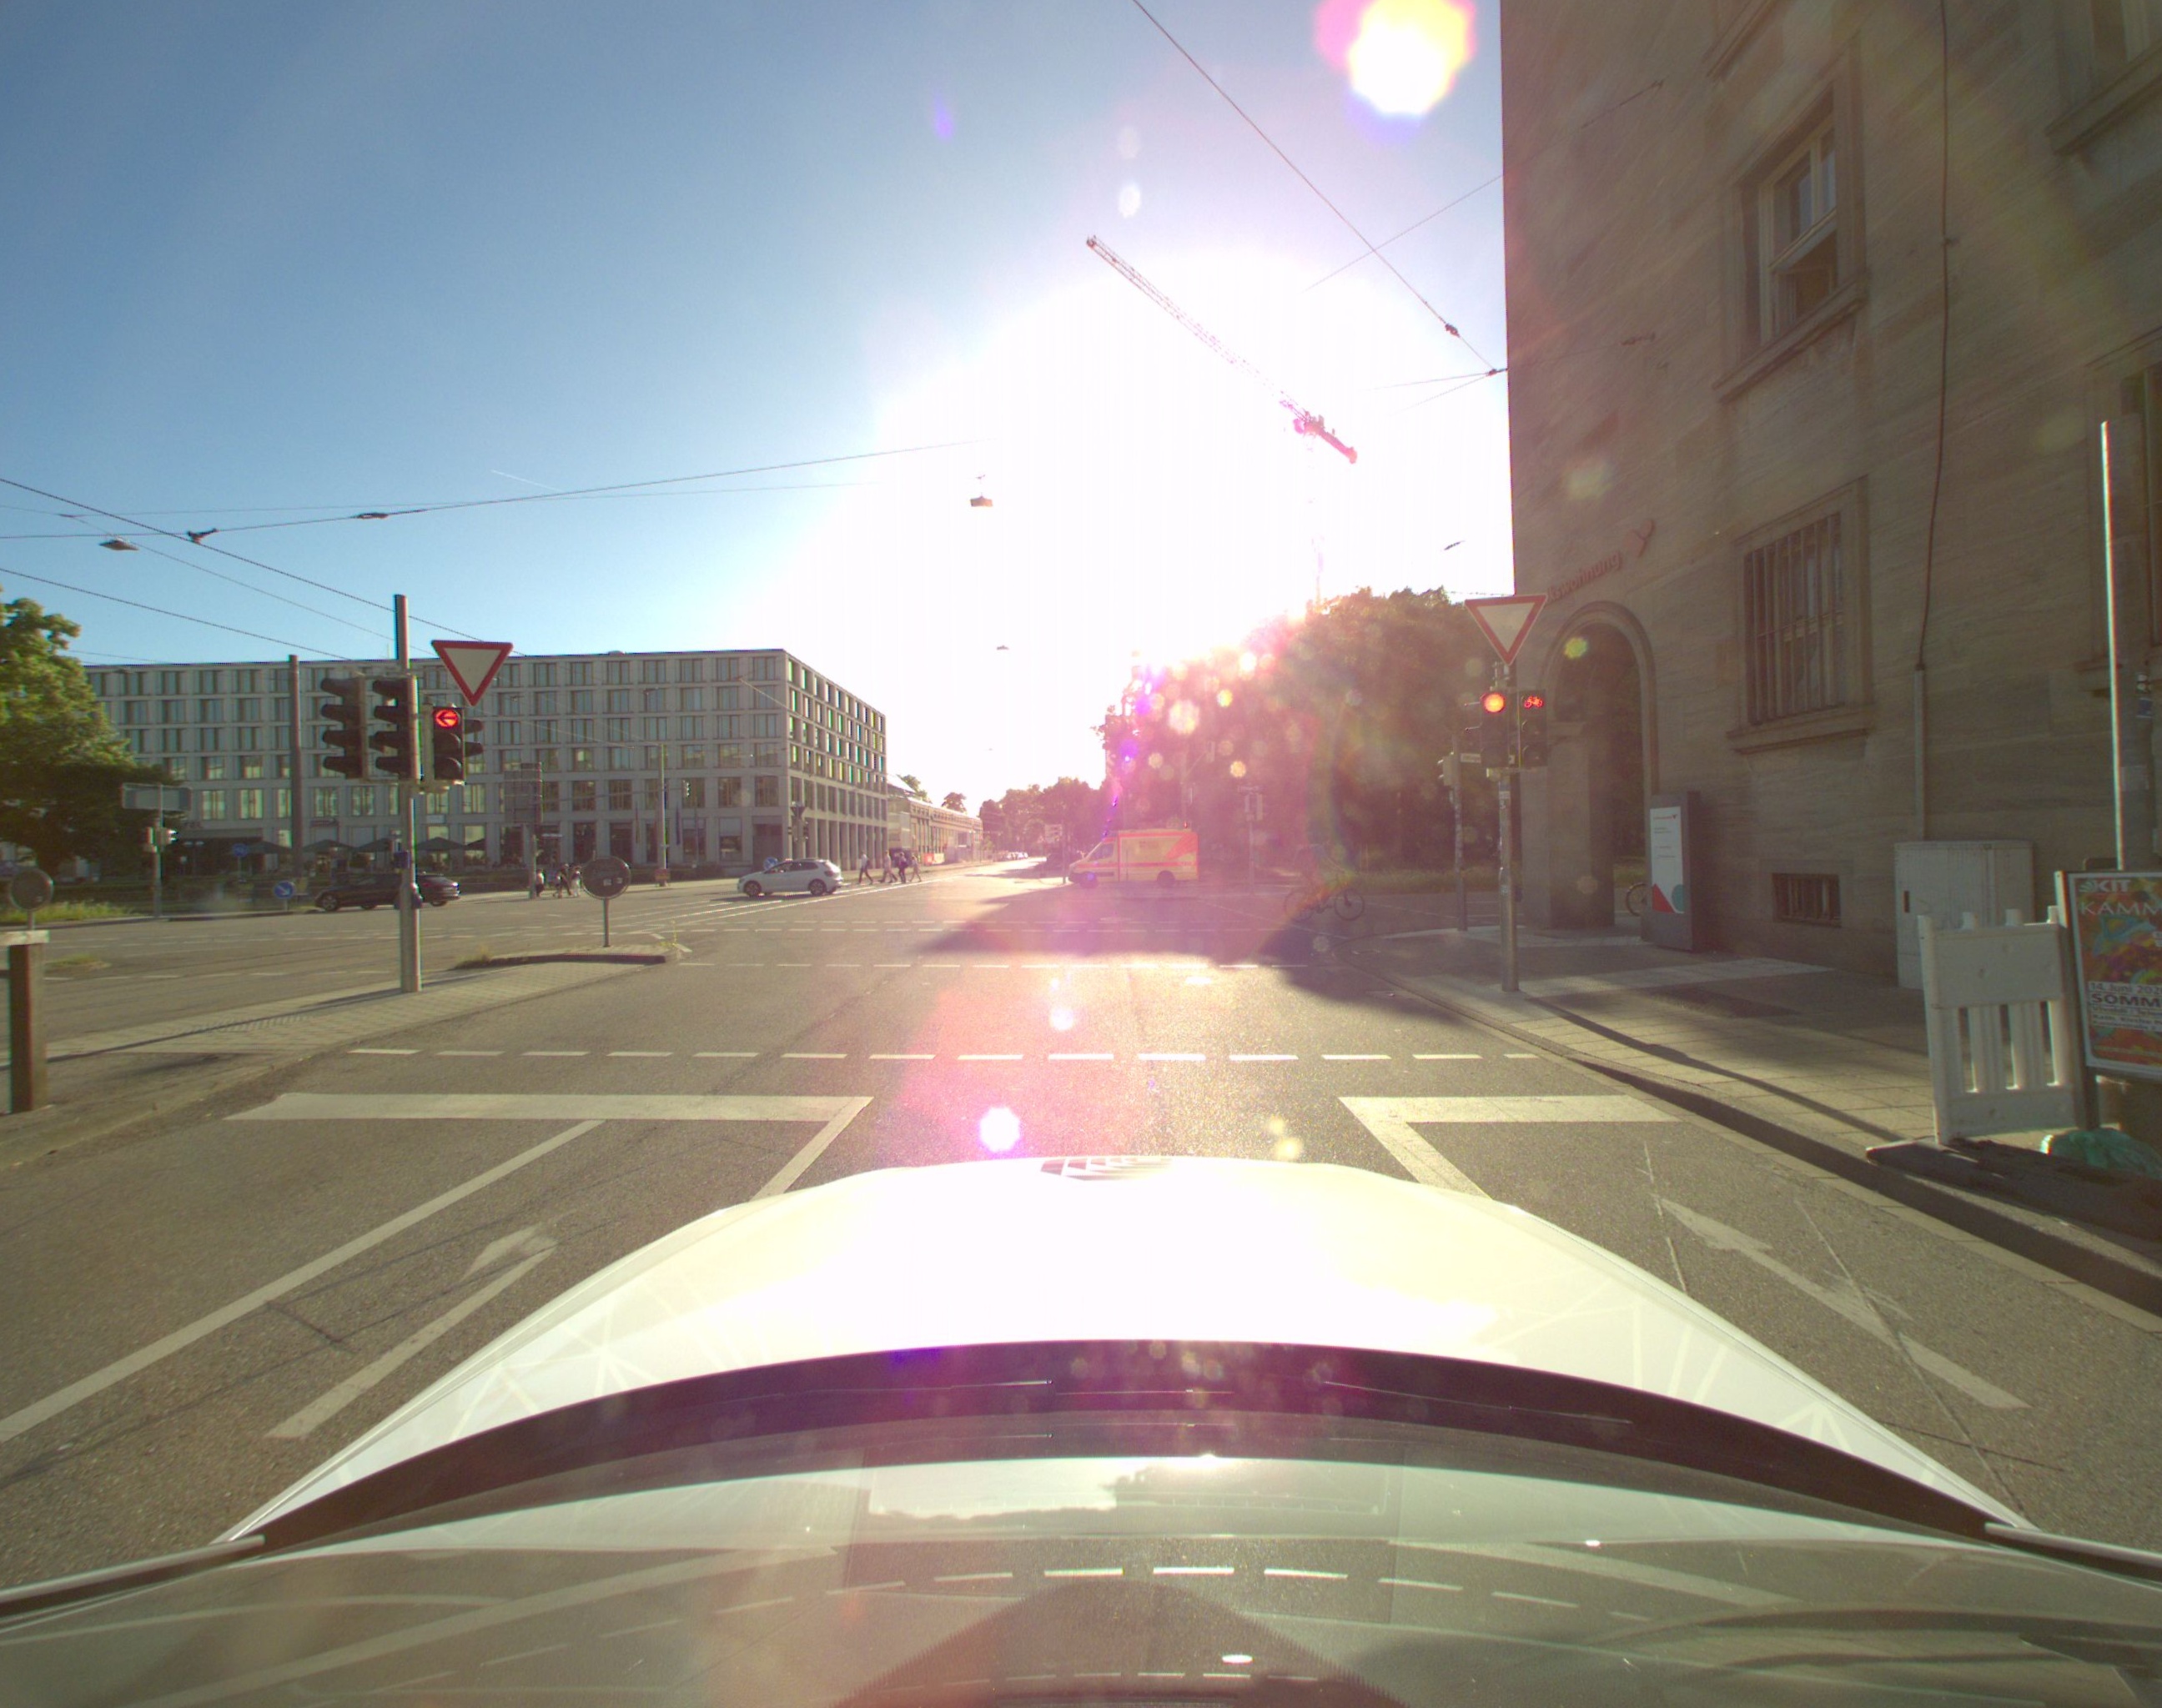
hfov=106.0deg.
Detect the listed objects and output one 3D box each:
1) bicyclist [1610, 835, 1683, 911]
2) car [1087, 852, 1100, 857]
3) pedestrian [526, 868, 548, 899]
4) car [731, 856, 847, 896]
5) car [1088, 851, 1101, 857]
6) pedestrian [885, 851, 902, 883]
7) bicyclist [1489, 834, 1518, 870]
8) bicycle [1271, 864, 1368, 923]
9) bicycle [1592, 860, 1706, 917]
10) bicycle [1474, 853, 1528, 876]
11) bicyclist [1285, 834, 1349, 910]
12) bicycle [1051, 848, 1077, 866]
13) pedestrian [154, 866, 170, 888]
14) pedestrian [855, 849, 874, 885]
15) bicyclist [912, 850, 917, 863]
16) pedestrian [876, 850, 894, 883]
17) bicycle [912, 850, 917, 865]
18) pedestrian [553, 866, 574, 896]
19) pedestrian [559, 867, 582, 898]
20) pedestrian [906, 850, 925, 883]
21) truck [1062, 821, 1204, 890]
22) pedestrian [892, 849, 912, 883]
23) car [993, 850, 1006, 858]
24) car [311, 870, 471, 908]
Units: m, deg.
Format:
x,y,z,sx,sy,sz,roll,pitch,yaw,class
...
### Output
x,y,z,sx,sy,sz,roll,pitch,yaw,class
11.753,0.380,16.950,0.997,1.512,0.768,-2,2,5,bicyclist
3.314,0.035,211.432,3.205,1.263,1.374,0,-1,2,car
-29.712,1.610,44.474,0.690,1.644,0.623,-2,0,9,pedestrian
-11.663,0.882,32.743,4.032,1.434,1.630,-2,-2,-2,car
3.596,-0.061,213.641,3.207,1.588,1.445,0,-1,-3,car
-10.678,0.721,46.388,0.735,1.803,0.533,-2,0,7,pedestrian
18.625,-0.088,35.923,0.971,1.560,0.575,-2,0,1,bicyclist
5.189,0.840,17.771,1.870,1.158,0.765,-2,2,-5,bicycle
11.793,0.712,16.959,1.804,1.085,0.768,-2,2,5,bicycle
18.506,0.472,35.914,2.057,0.933,0.575,-2,0,1,bicycle
5.128,0.373,17.763,1.122,1.594,0.765,-2,2,-5,bicyclist
-1.734,0.333,81.670,2.538,1.744,1.038,0,-1,1,bicycle
-69.821,1.733,61.851,0.538,1.669,0.561,0,-1,-2,pedestrian
-11.738,0.717,44.181,0.797,1.918,0.638,-2,0,7,pedestrian
-26.770,0.450,130.890,0.569,2.024,0.762,-2,0,0,bicyclist
-10.893,0.693,45.230,0.735,1.803,0.717,-2,0,7,pedestrian
-26.760,0.588,130.914,0.569,2.296,1.422,-2,0,0,bicycle
-28.807,1.515,45.338,0.692,1.644,0.621,-2,0,-3,pedestrian
-28.025,1.553,44.721,0.790,1.644,0.621,-2,0,-3,pedestrian
-9.297,0.682,45.736,0.865,1.803,0.533,-2,0,7,pedestrian
2.540,0.077,38.657,6.433,3.016,2.731,-1,0,7,truck
-9.802,0.659,44.685,0.865,1.803,0.665,-2,0,7,pedestrian
-15.709,0.002,156.946,1.888,1.607,4.499,-2,0,0,car
-28.048,1.428,33.212,4.721,1.415,1.999,-1,-2,-1,car
